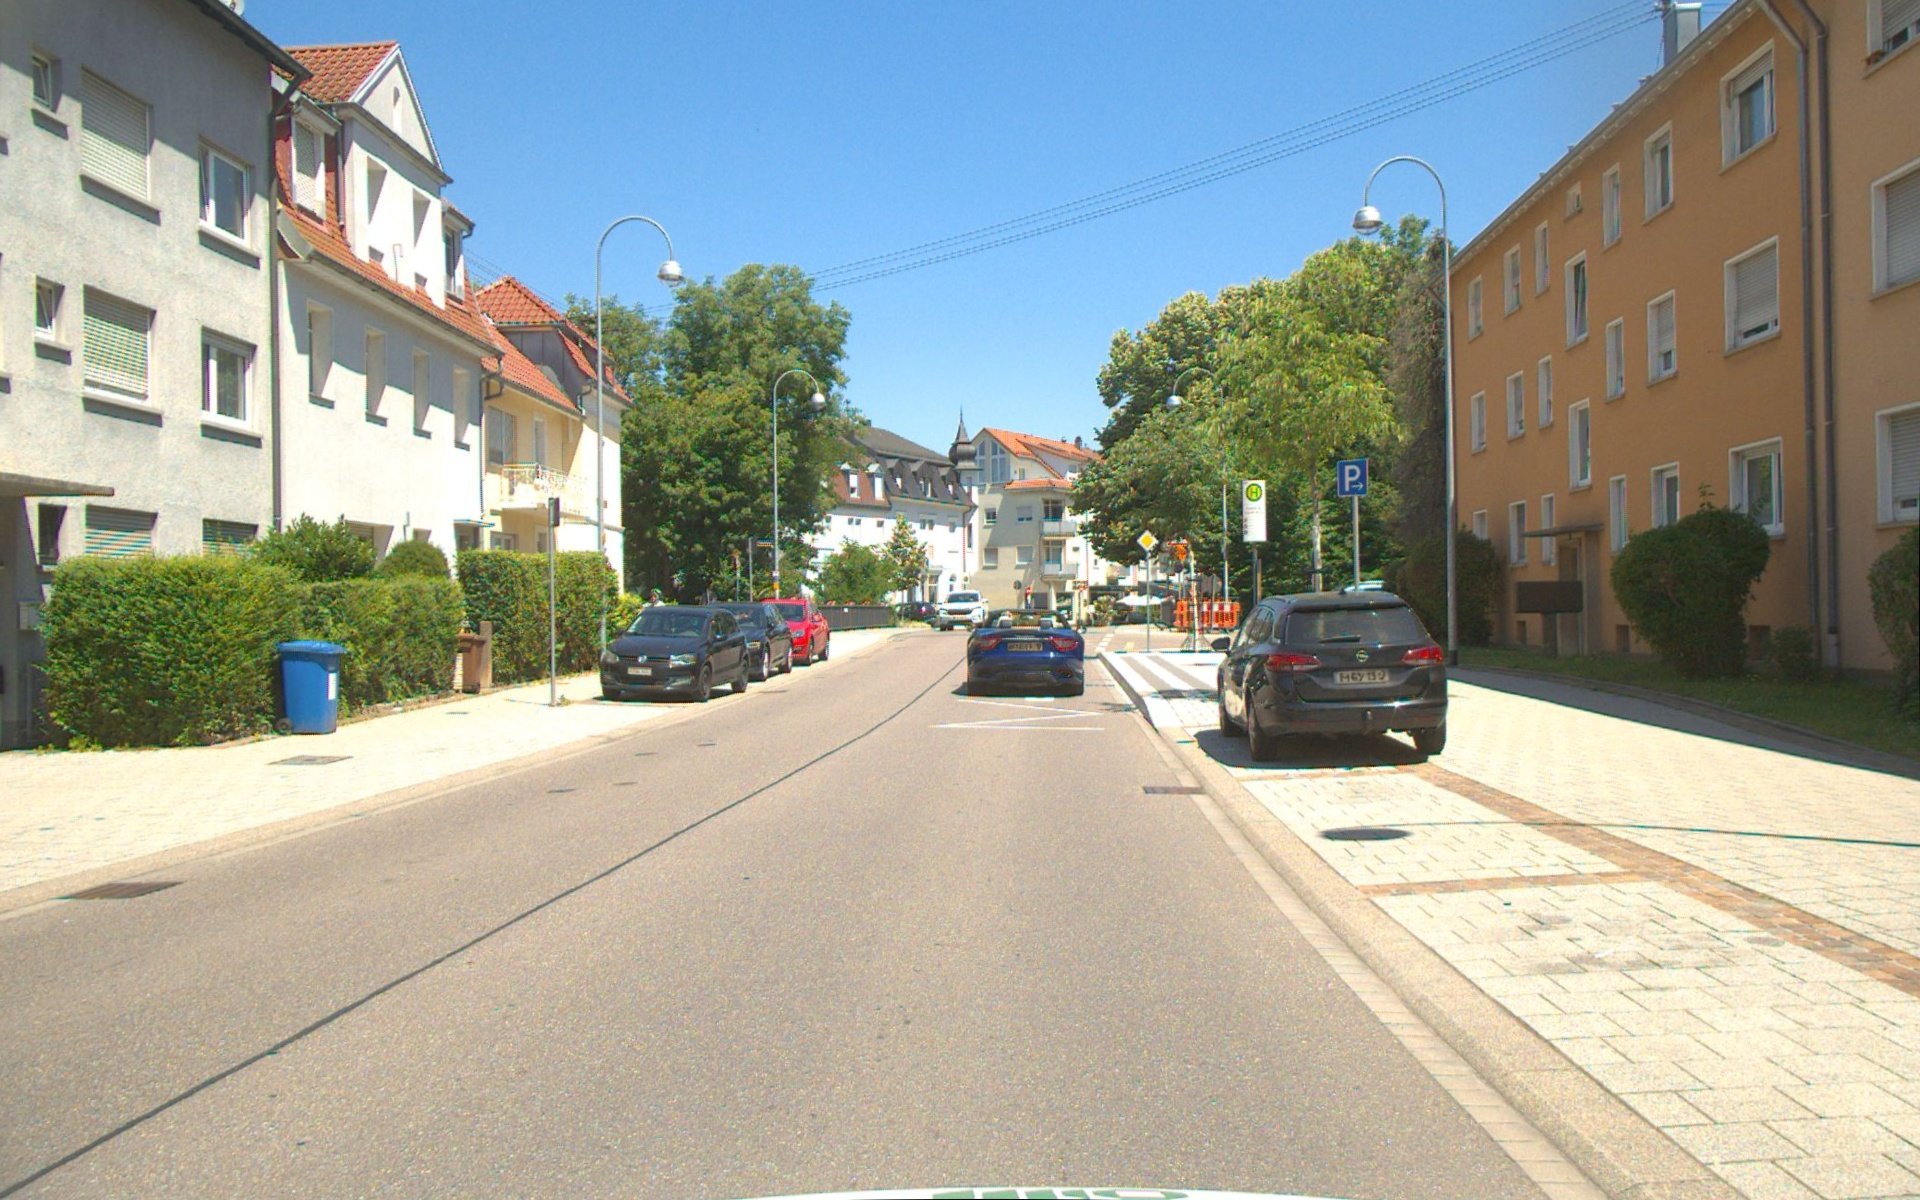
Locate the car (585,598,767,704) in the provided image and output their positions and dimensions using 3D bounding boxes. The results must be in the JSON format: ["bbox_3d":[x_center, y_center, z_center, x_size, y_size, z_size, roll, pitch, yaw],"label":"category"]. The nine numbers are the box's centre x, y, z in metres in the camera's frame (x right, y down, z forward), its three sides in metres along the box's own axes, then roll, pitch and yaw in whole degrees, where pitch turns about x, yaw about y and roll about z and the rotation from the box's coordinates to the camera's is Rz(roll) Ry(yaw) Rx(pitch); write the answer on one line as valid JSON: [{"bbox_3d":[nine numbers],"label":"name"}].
[{"bbox_3d":[-4.522,0.763,26.986,1.750,1.484,4.201,2,1,7],"label":"car"}]

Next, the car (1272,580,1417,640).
[{"bbox_3d":[12.461,0.324,53.699,4.253,1.871,1.748,1,-1,-5],"label":"car"}]

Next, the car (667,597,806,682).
[{"bbox_3d":[-4.406,0.729,33.423,1.824,1.487,5.309,1,1,3],"label":"car"}]

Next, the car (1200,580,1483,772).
[{"bbox_3d":[3.567,0.636,16.431,1.795,1.530,5.065,-3,0,3],"label":"car"}]

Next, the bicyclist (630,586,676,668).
[{"bbox_3d":[-6.434,0.555,34.703,0.766,1.688,0.835,-1,0,1],"label":"bicyclist"}]

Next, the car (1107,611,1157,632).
[{"bbox_3d":[12.934,1.626,124.195,1.687,1.486,4.107,1,-1,40],"label":"car"}]

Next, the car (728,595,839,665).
[{"bbox_3d":[-4.112,0.657,39.339,1.838,1.505,4.740,2,0,3],"label":"car"}]

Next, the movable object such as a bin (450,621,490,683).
[{"bbox_3d":[-8.251,0.868,27.875,0.457,1.007,0.614,-1,0,3],"label":"movable object such as a bin"}]

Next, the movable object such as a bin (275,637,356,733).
[{"bbox_3d":[-7.551,0.987,19.400,0.659,1.066,0.652,-2,0,2],"label":"movable object such as a bin"}]

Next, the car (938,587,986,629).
[{"bbox_3d":[0.104,0.336,68.901,1.839,1.625,4.360,-2,0,2],"label":"car"}]

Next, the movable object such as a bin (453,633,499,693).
[{"bbox_3d":[-7.739,0.998,26.448,0.484,0.927,0.706,-1,0,3],"label":"movable object such as a bin"}]

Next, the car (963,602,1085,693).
[{"bbox_3d":[1.100,0.738,27.425,1.831,1.366,4.597,1,0,3],"label":"car"}]
